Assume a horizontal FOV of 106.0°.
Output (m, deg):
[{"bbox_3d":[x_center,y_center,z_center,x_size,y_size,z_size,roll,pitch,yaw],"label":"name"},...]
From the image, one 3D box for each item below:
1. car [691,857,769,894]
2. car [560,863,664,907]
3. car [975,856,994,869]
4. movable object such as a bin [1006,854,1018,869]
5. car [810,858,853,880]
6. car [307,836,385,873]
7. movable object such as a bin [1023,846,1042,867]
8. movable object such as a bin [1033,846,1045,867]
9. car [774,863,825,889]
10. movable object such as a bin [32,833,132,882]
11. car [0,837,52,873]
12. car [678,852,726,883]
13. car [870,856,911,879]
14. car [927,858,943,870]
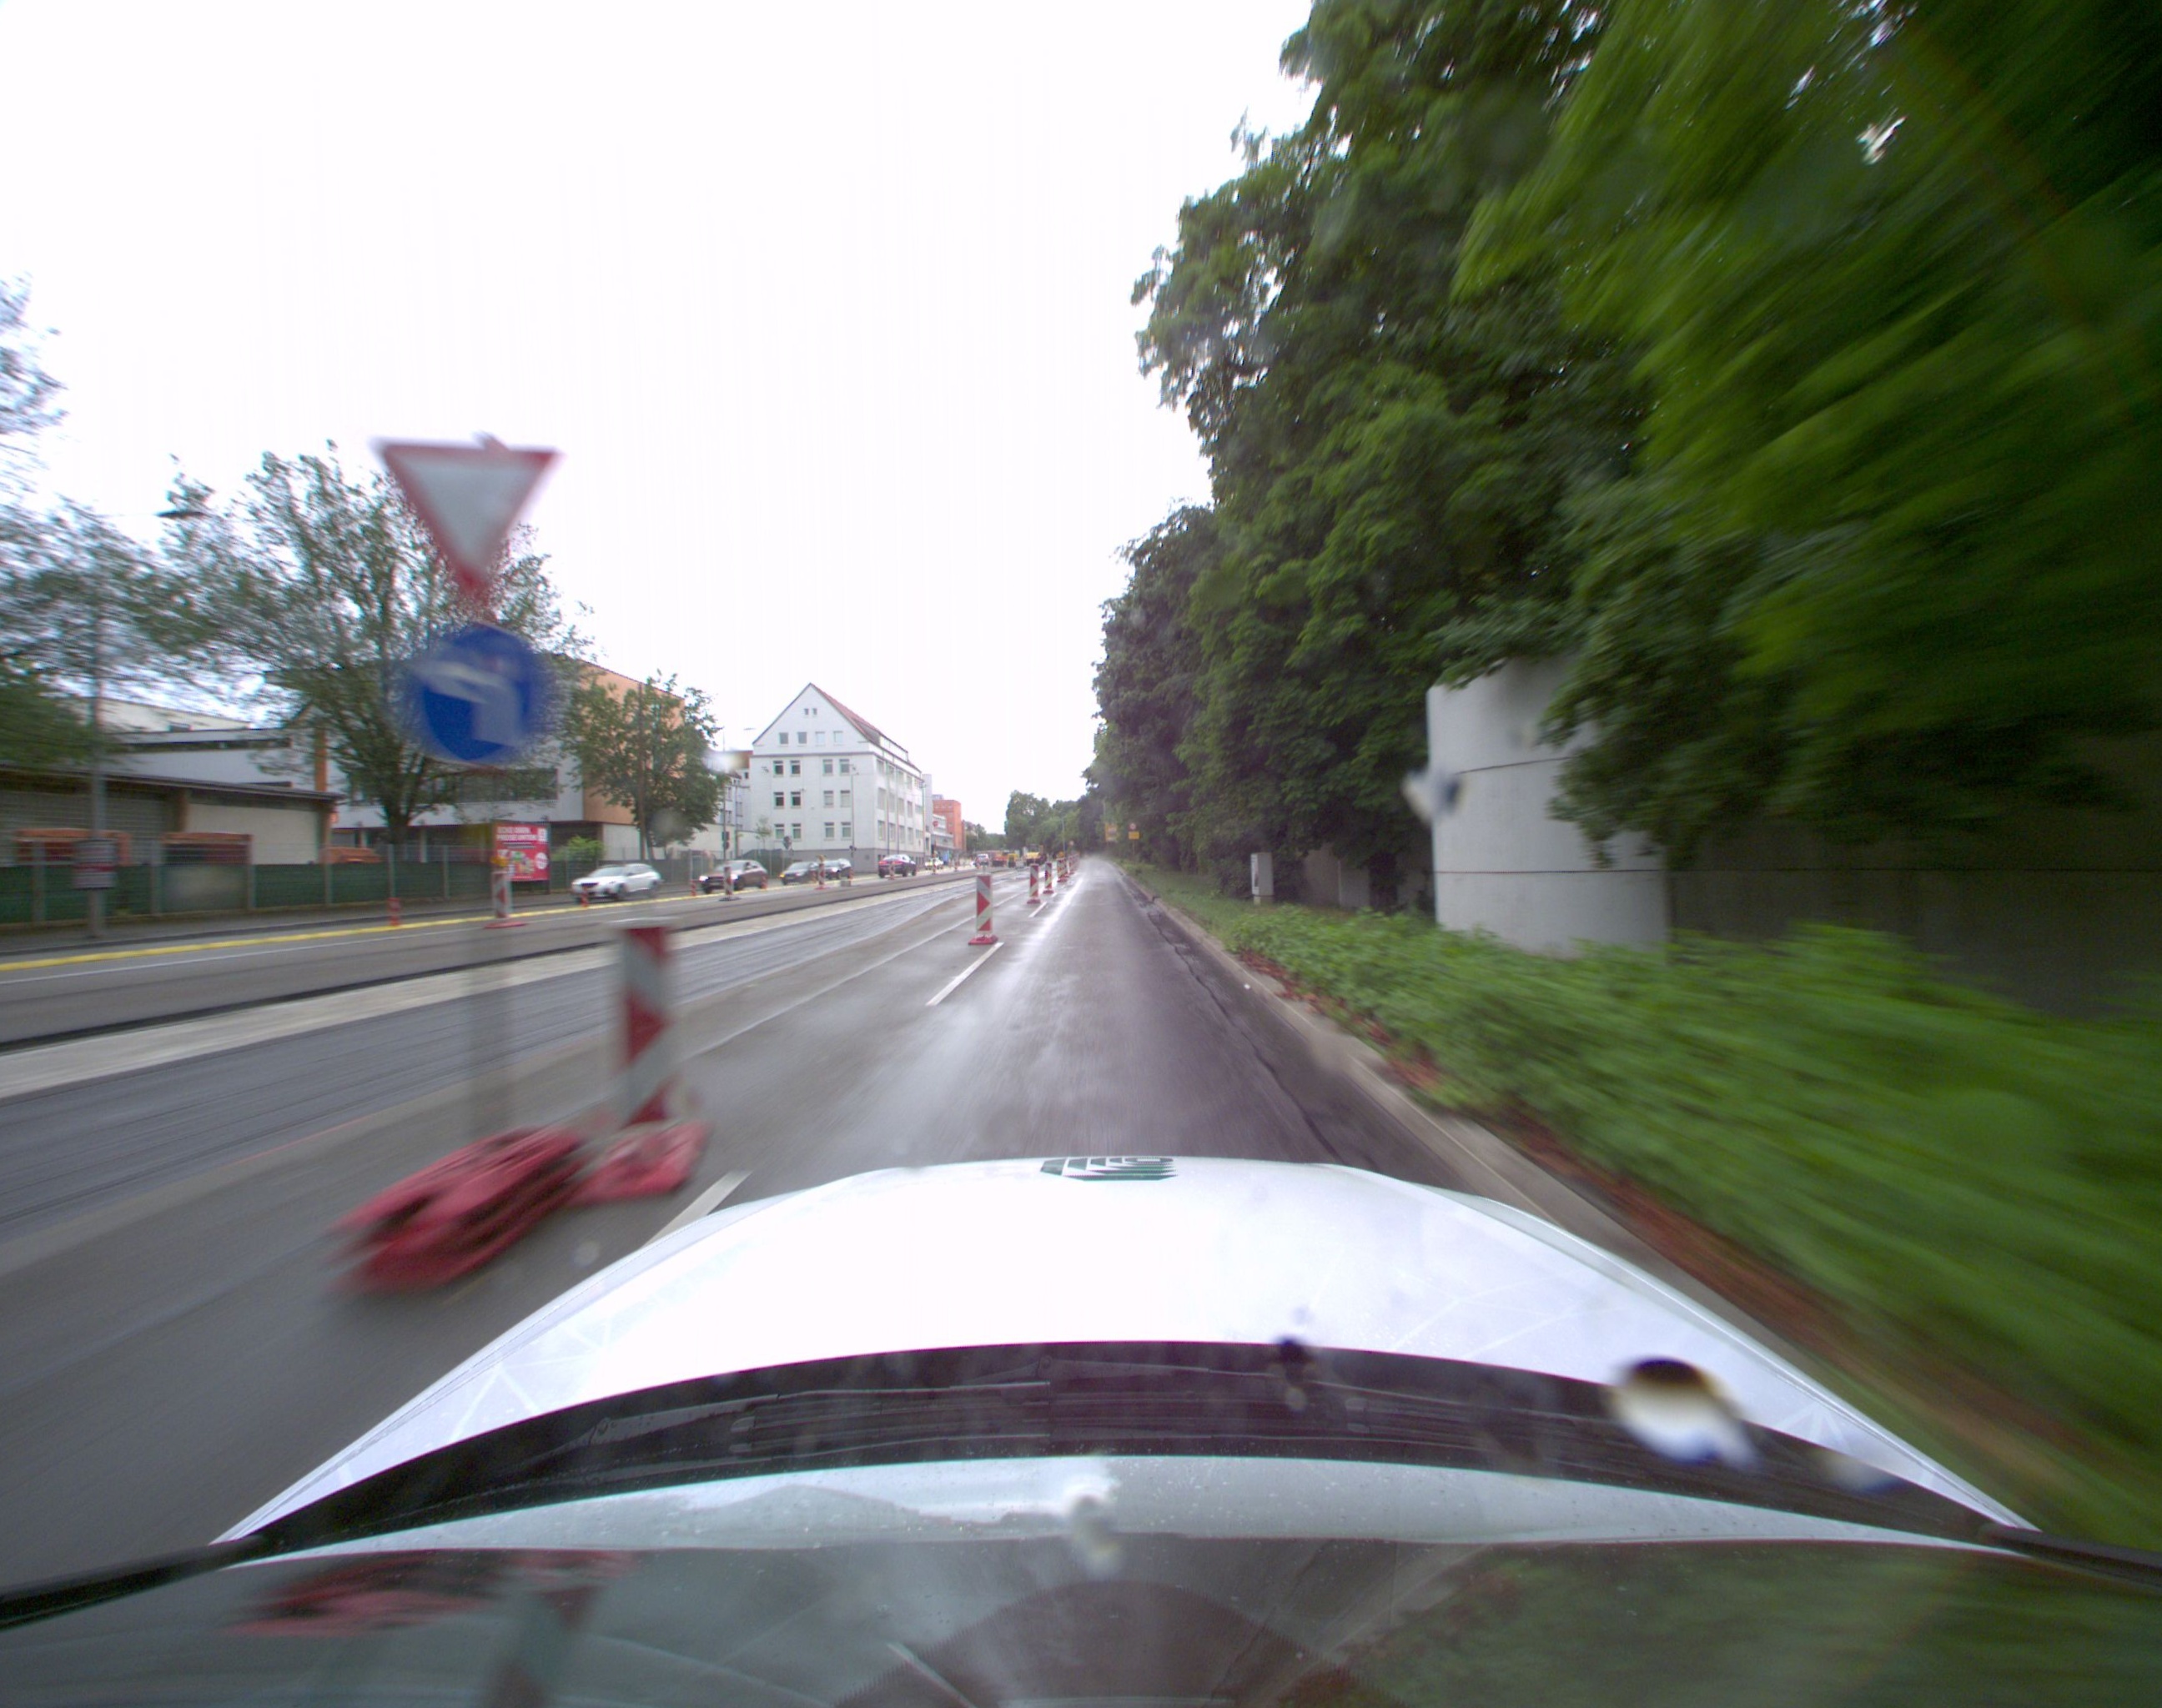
[{"bbox_3d":[-17.618,1.041,41.087,1.852,1.619,4.366,-4,0,1],"label":"car"},{"bbox_3d":[-20.476,1.296,35.807,1.852,1.706,4.366,-4,0,1],"label":"car"},{"bbox_3d":[-12.618,1.124,106.835,1.885,1.650,4.397,-1,0,2],"label":"car"},{"bbox_3d":[-8.016,0.852,95.057,1.080,1.644,2.438,-2,0,0],"label":"movable object such as a bin"},{"bbox_3d":[-19.671,1.164,64.452,1.852,1.630,4.330,-4,0,1],"label":"car"},{"bbox_3d":[-33.402,0.038,36.991,3.971,1.527,2.013,-2,0,39],"label":"car"},{"bbox_3d":[-6.150,0.284,103.650,1.895,2.609,5.383,-2,0,1],"label":"movable object such as a bin"},{"bbox_3d":[-6.105,0.359,119.131,1.461,3.008,3.723,-4,0,-1],"label":"movable object such as a bin"},{"bbox_3d":[-18.348,1.392,53.227,1.852,1.475,3.733,-4,0,1],"label":"car"},{"bbox_3d":[-33.211,0.144,27.175,3.973,1.527,1.764,-2,0,44],"label":"movable object such as a bin"},{"bbox_3d":[-34.405,0.051,25.846,3.973,1.062,1.764,-2,0,44],"label":"car"},{"bbox_3d":[-27.940,0.964,60.102,1.605,2.170,4.000,-2,0,0],"label":"car"},{"bbox_3d":[-14.238,0.995,60.987,1.885,1.650,4.397,-1,0,2],"label":"car"},{"bbox_3d":[-18.835,1.284,105.016,1.551,1.368,3.799,-3,0,-4],"label":"car"}]
